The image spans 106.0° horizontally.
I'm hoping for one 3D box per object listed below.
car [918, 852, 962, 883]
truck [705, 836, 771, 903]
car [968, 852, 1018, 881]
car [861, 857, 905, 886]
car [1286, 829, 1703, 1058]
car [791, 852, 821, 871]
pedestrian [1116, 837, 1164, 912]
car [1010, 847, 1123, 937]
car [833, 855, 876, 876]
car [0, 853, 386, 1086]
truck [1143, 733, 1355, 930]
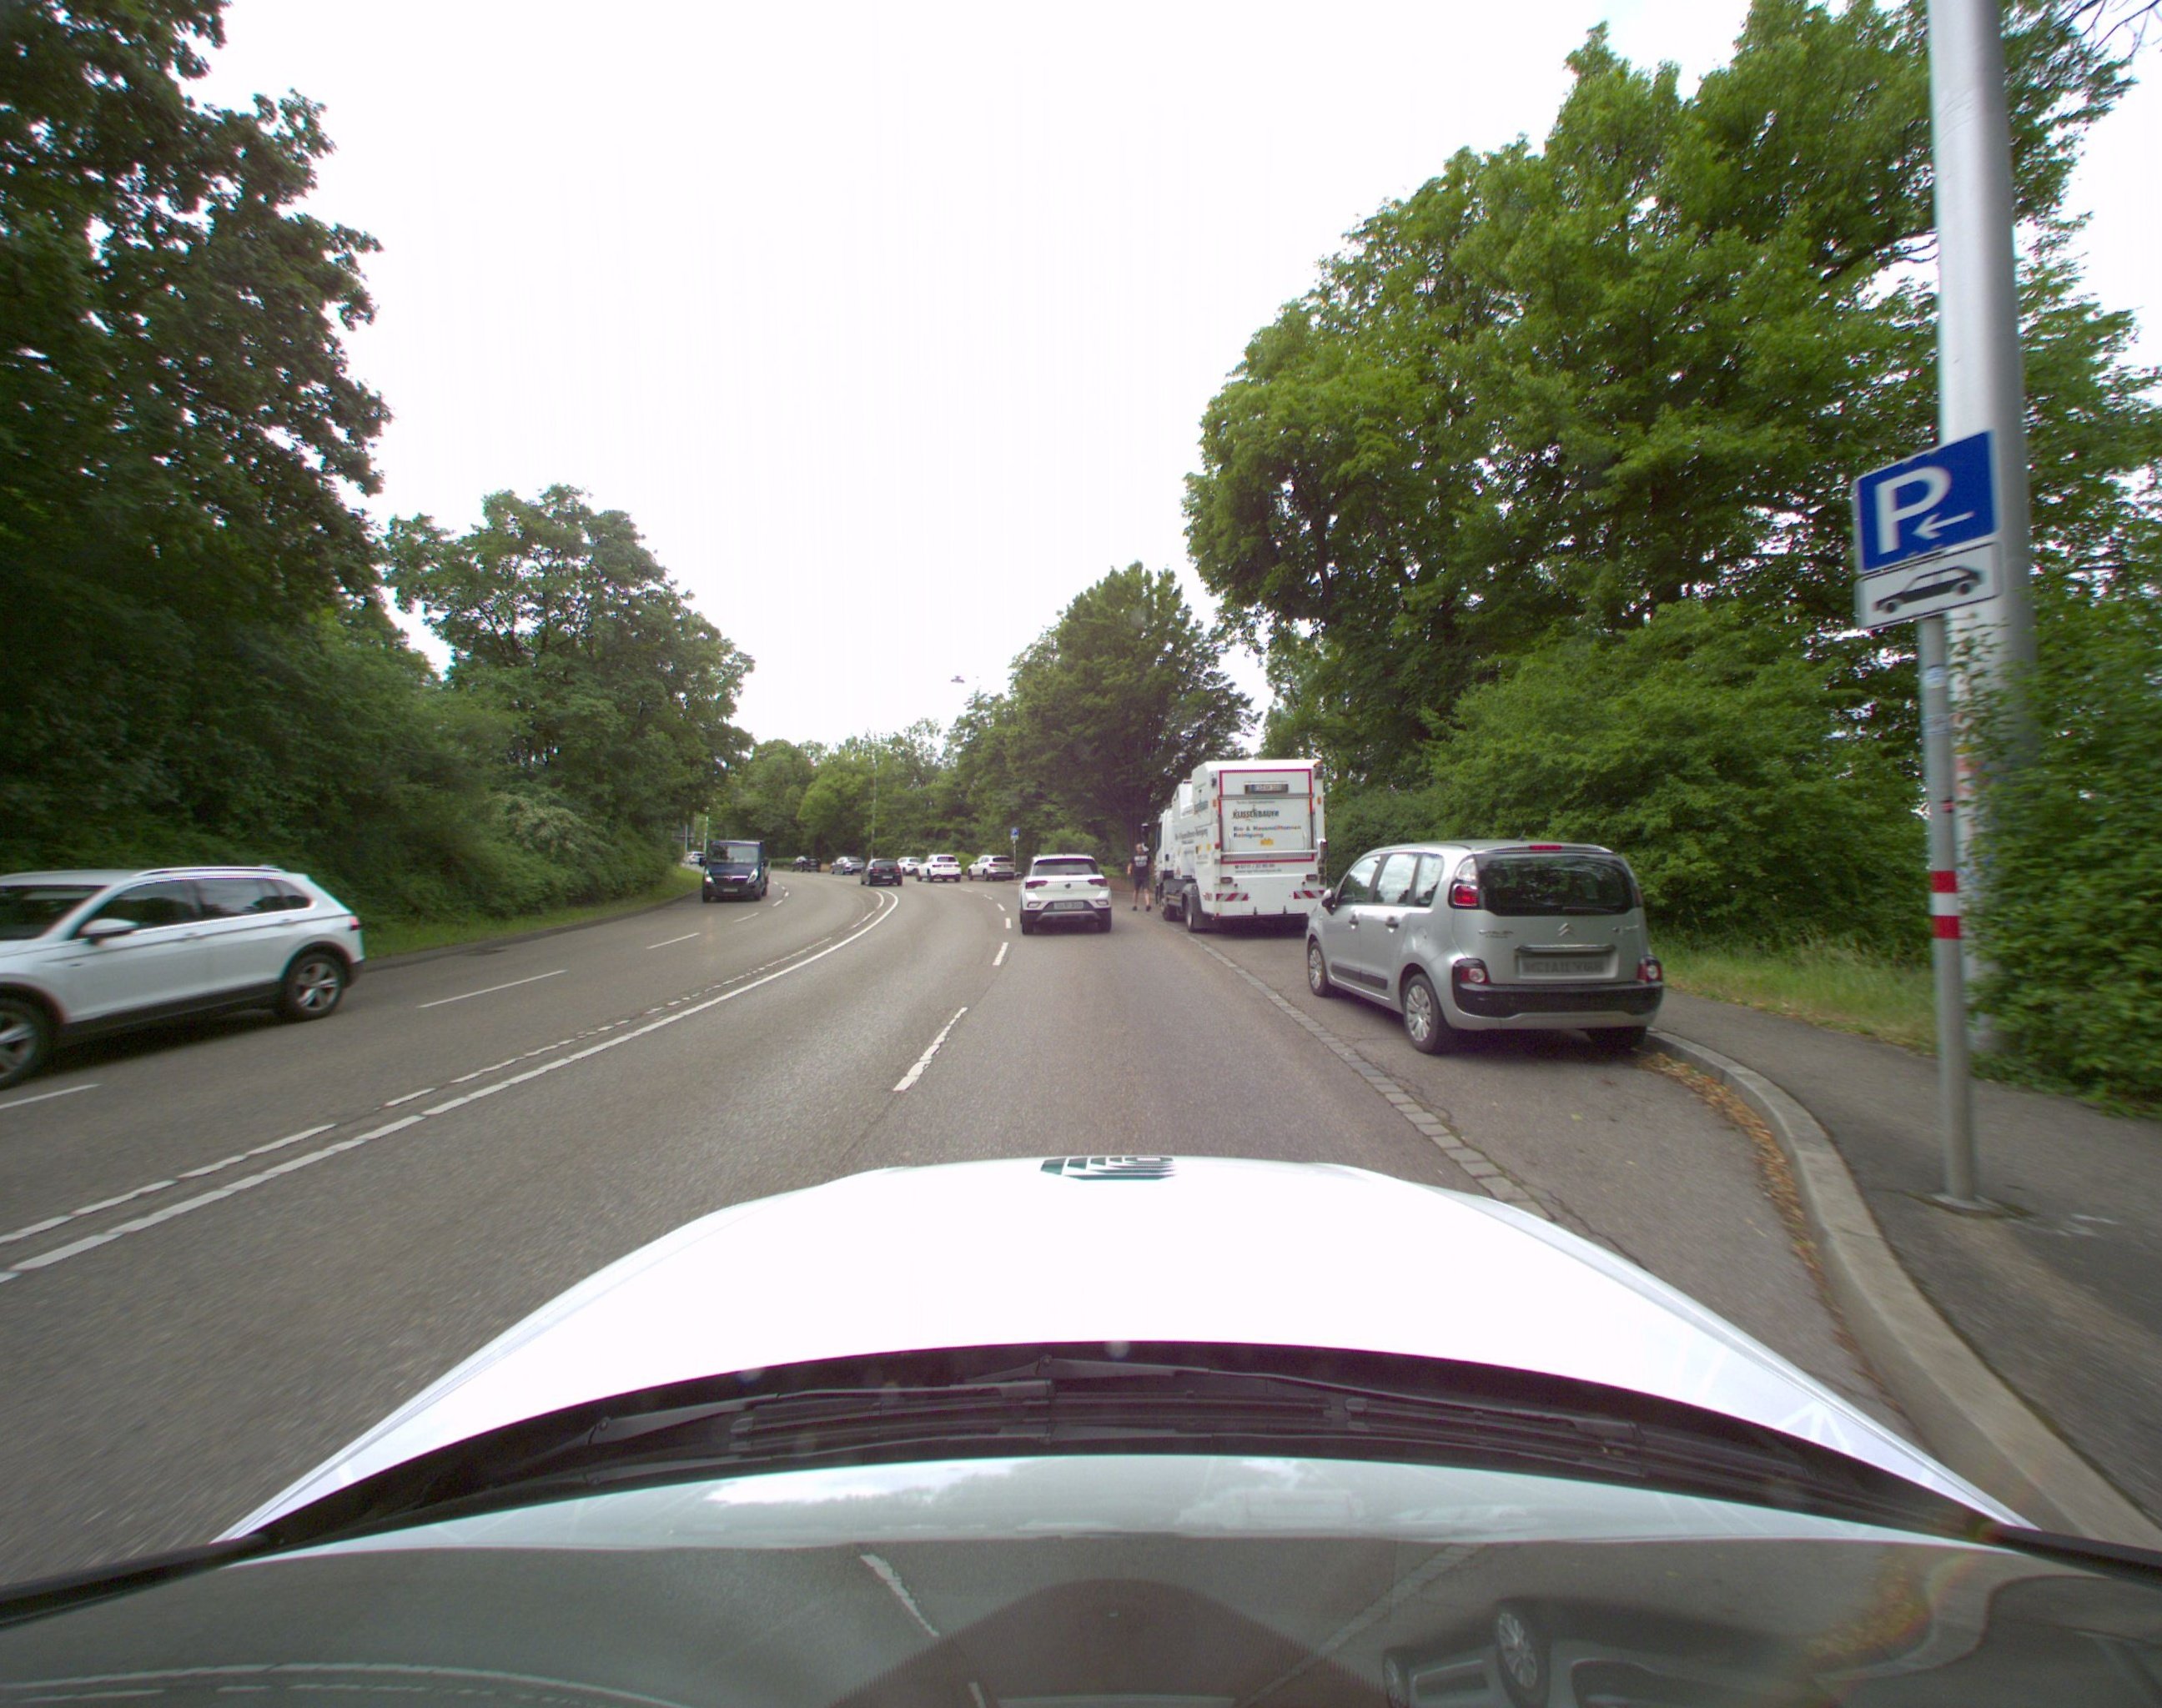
[{"bbox_3d":[-8.462,0.748,48.632,1.858,1.702,3.971,-1,1,-22],"label":"car"},{"bbox_3d":[-13.638,0.536,32.275,2.170,2.371,6.625,0,0,-24],"label":"truck"},{"bbox_3d":[-5.485,0.744,50.274,1.767,1.652,4.344,-1,0,-25],"label":"car"},{"bbox_3d":[-10.702,0.926,43.861,1.955,1.466,3.974,1,0,-19],"label":"car"},{"bbox_3d":[3.349,0.630,7.600,1.797,1.524,3.998,-1,-1,-1],"label":"car"},{"bbox_3d":[-25.085,0.641,74.226,1.777,1.607,3.961,3,-1,-31],"label":"car"},{"bbox_3d":[1.585,0.548,22.119,0.914,1.833,0.984,12,-1,1],"label":"pedestrian"},{"bbox_3d":[-0.436,0.724,17.166,1.998,1.596,3.991,2,-1,-6],"label":"car"},{"bbox_3d":[-17.781,0.875,63.835,1.745,1.482,4.651,3,-1,-35],"label":"car"},{"bbox_3d":[-8.883,0.898,7.121,1.852,1.694,4.431,-3,0,-3],"label":"car"},{"bbox_3d":[3.089,-0.363,17.194,2.477,3.181,7.219,-2,0,-3],"label":"truck"}]
